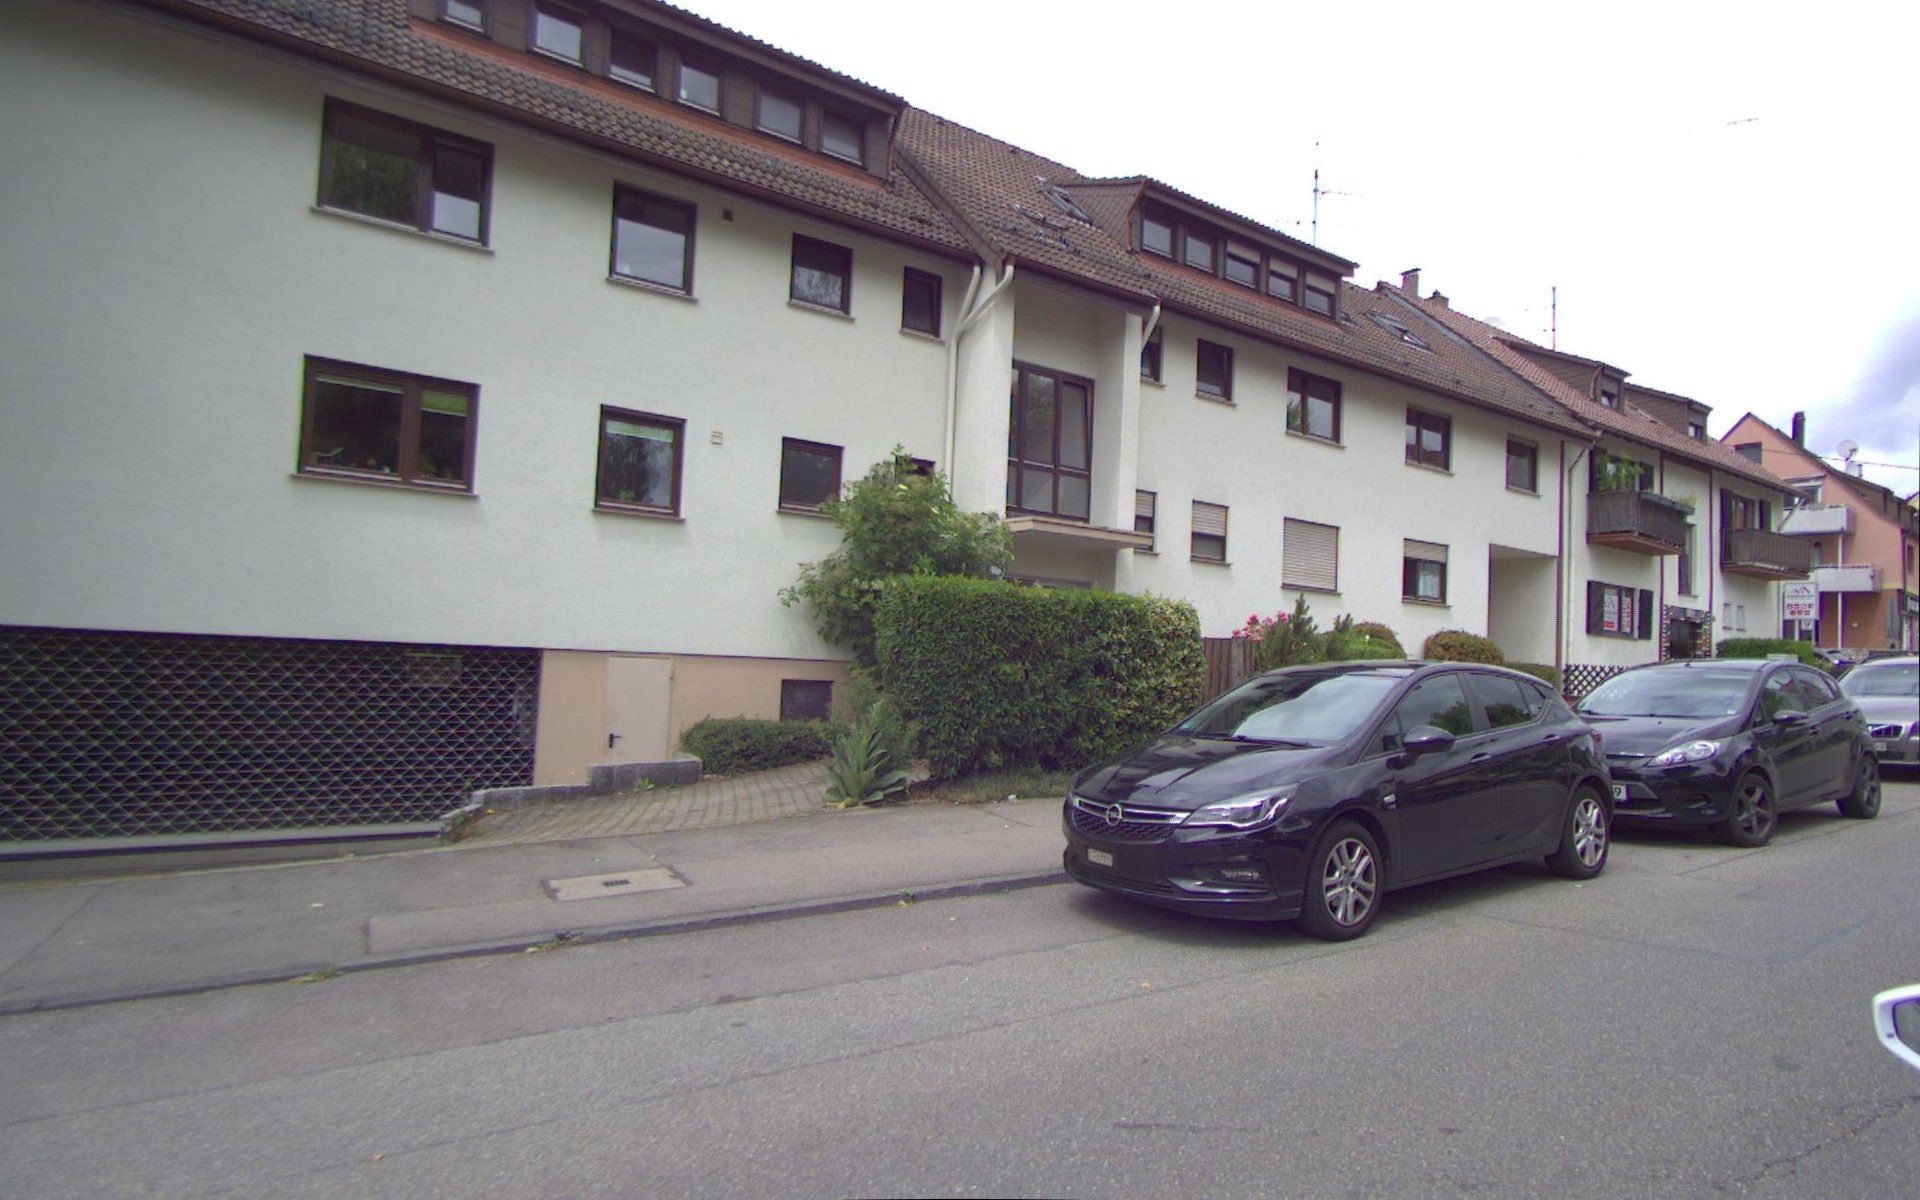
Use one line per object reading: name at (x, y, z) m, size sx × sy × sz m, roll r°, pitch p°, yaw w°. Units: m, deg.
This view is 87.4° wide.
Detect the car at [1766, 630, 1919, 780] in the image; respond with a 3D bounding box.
car at (12.587, 1.304, 13.092) m, size 4.736 × 1.702 × 1.837 m, roll 2°, pitch -5°, yaw -34°

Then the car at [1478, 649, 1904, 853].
car at (6.676, 1.218, 9.076) m, size 4.035 × 1.456 × 1.753 m, roll 2°, pitch -6°, yaw -34°

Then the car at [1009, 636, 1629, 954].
car at (2.447, 1.005, 6.520) m, size 4.036 × 1.457 × 1.752 m, roll 2°, pitch -4°, yaw -34°
